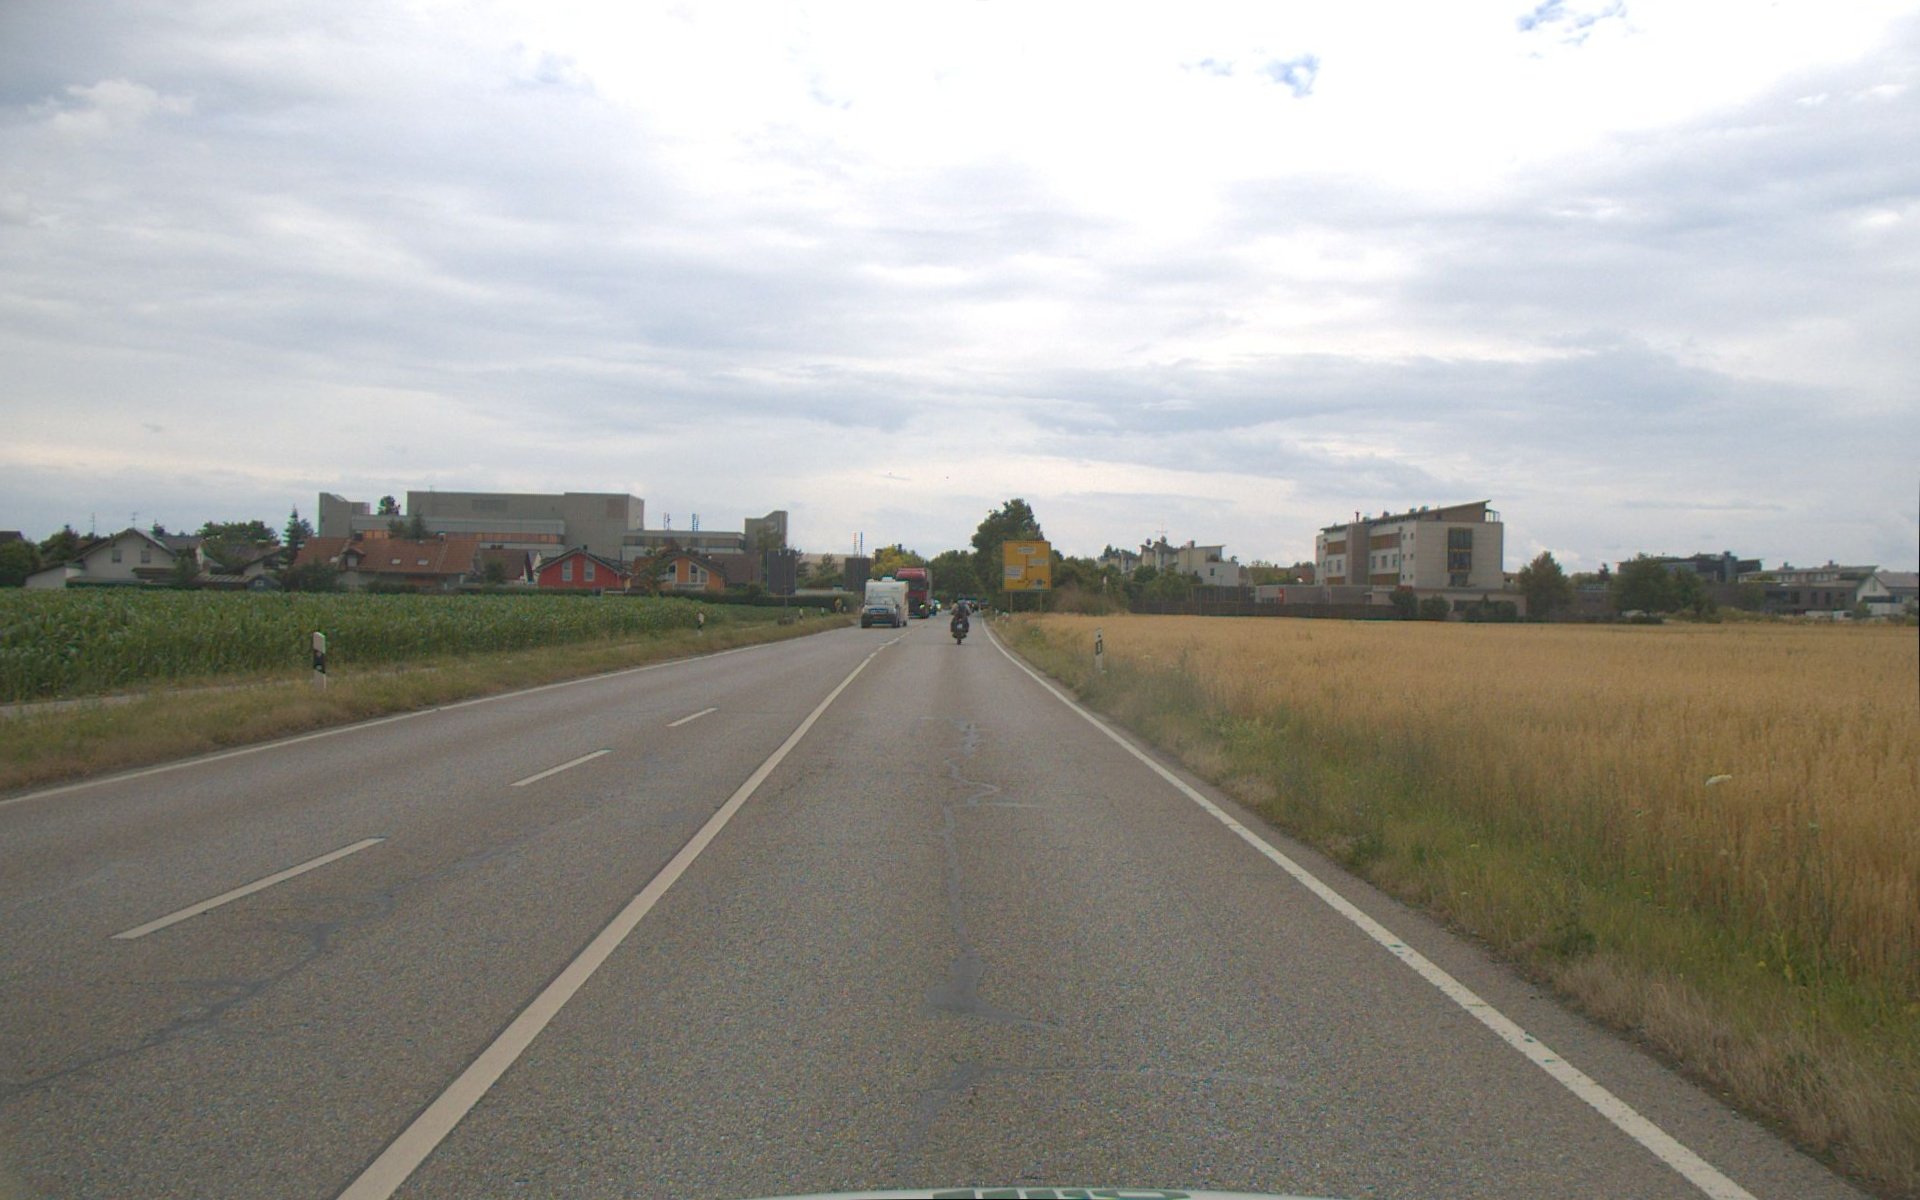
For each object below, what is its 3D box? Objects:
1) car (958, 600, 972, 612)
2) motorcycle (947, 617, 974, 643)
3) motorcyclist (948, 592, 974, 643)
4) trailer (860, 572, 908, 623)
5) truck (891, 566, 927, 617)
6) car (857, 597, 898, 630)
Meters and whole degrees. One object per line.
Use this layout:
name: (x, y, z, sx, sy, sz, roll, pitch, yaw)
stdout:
car: (0.701, 0.773, 216.288, 1.817, 1.498, 4.000, 1, 0, 0)
motorcycle: (0.021, 1.057, 59.044, 0.922, 0.905, 2.146, 1, 0, 0)
motorcyclist: (0.034, 0.614, 59.025, 0.922, 1.780, 1.200, 1, 0, 0)
trailer: (-4.303, -0.144, 94.612, 2.276, 2.777, 7.843, 1, 0, 1)
truck: (-4.108, -0.684, 135.060, 2.673, 4.057, 6.816, 0, 0, 1)
car: (-4.379, 0.708, 88.621, 1.953, 1.729, 4.675, 1, 0, 0)
